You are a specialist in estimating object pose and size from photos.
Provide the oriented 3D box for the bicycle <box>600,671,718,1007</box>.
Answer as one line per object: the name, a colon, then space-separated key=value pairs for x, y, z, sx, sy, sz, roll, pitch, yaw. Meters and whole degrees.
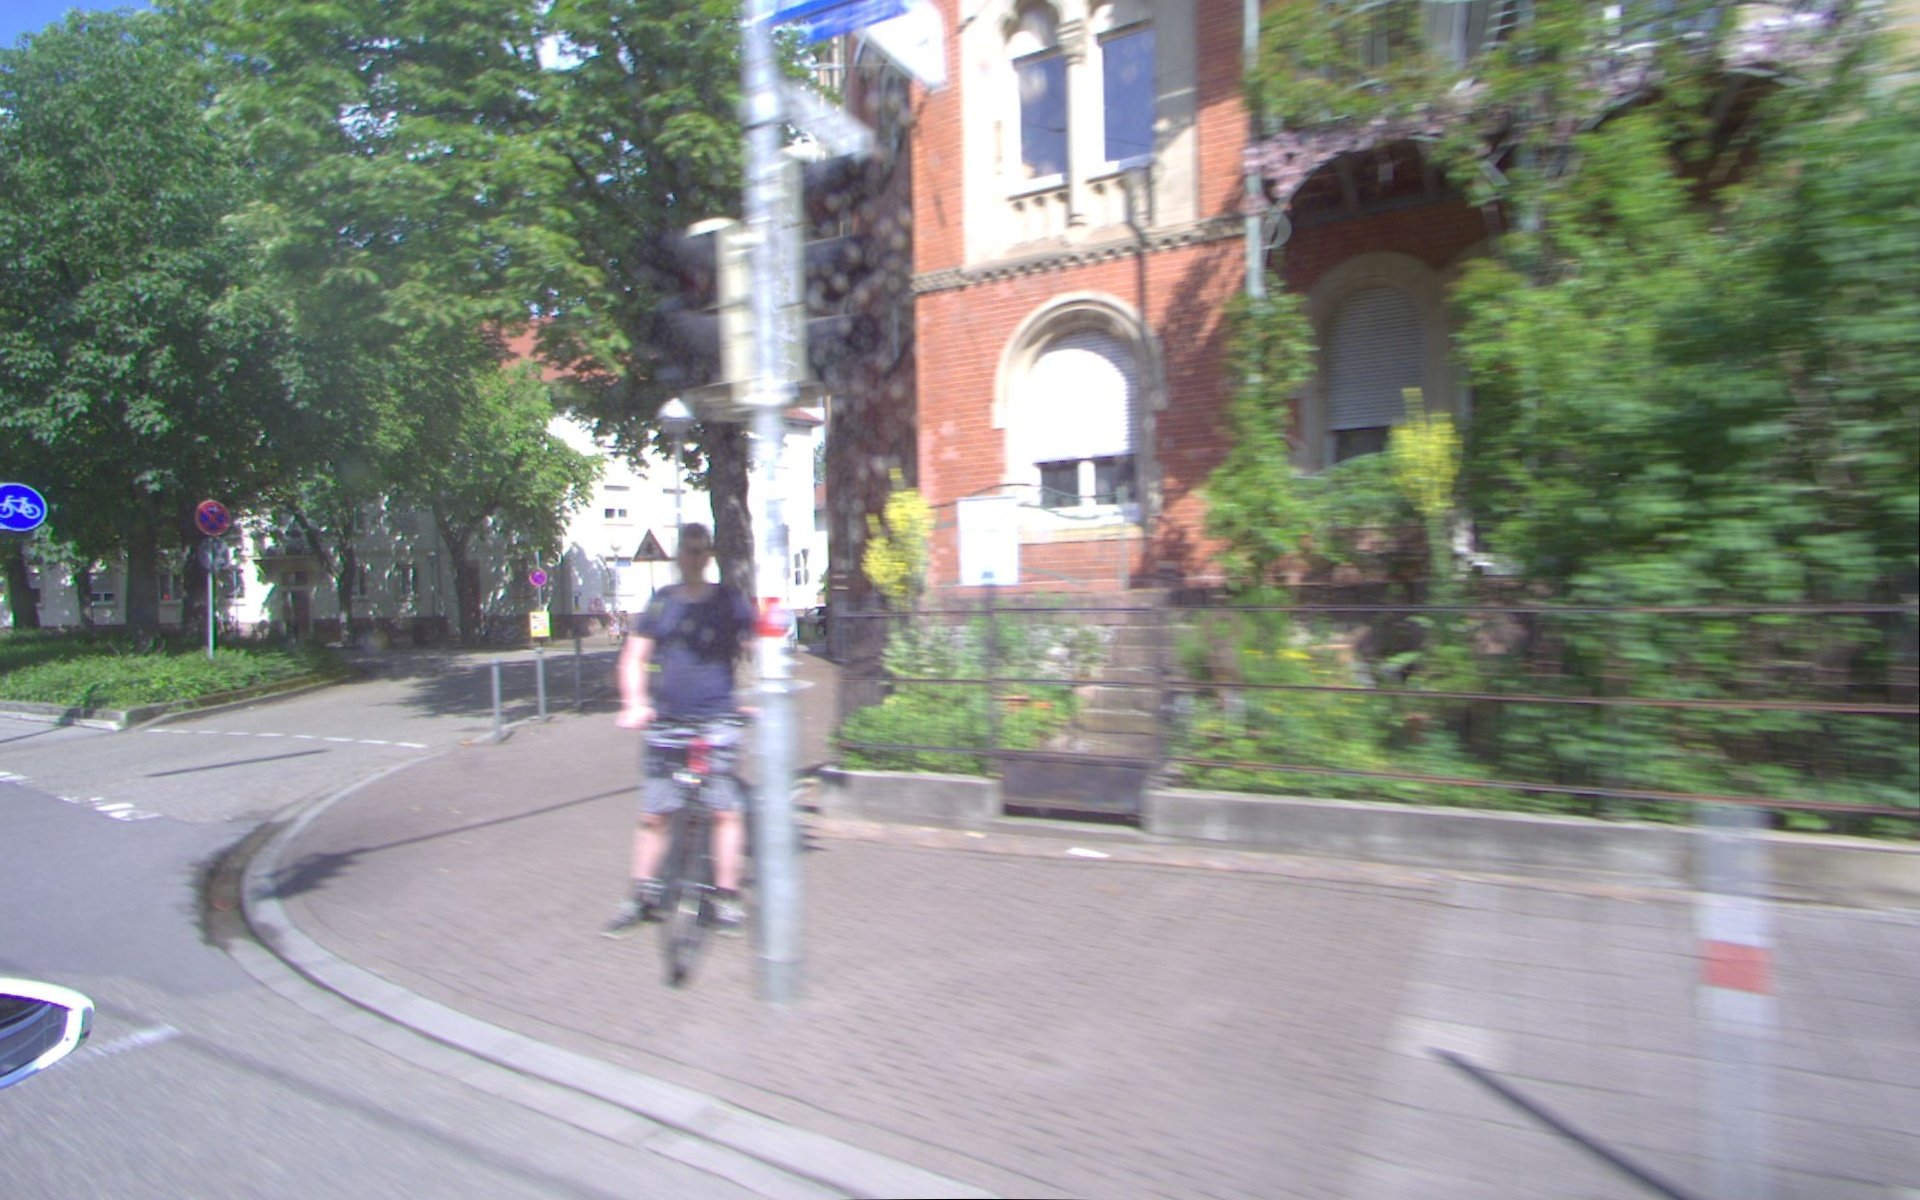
bicycle: x=-1.365 y=0.922 z=4.511 sx=0.383 sy=1.049 sz=1.841 roll=-1 pitch=1 yaw=-18

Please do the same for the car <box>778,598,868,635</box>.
car: x=-5.799 y=0.692 z=42.028 sx=1.784 sy=1.461 sz=3.962 roll=-2 pitch=0 yaw=-43

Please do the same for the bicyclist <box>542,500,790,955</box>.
bicyclist: x=-1.261 y=0.525 z=4.446 sx=0.804 sy=1.844 sz=0.735 roll=-1 pitch=1 yaw=5
